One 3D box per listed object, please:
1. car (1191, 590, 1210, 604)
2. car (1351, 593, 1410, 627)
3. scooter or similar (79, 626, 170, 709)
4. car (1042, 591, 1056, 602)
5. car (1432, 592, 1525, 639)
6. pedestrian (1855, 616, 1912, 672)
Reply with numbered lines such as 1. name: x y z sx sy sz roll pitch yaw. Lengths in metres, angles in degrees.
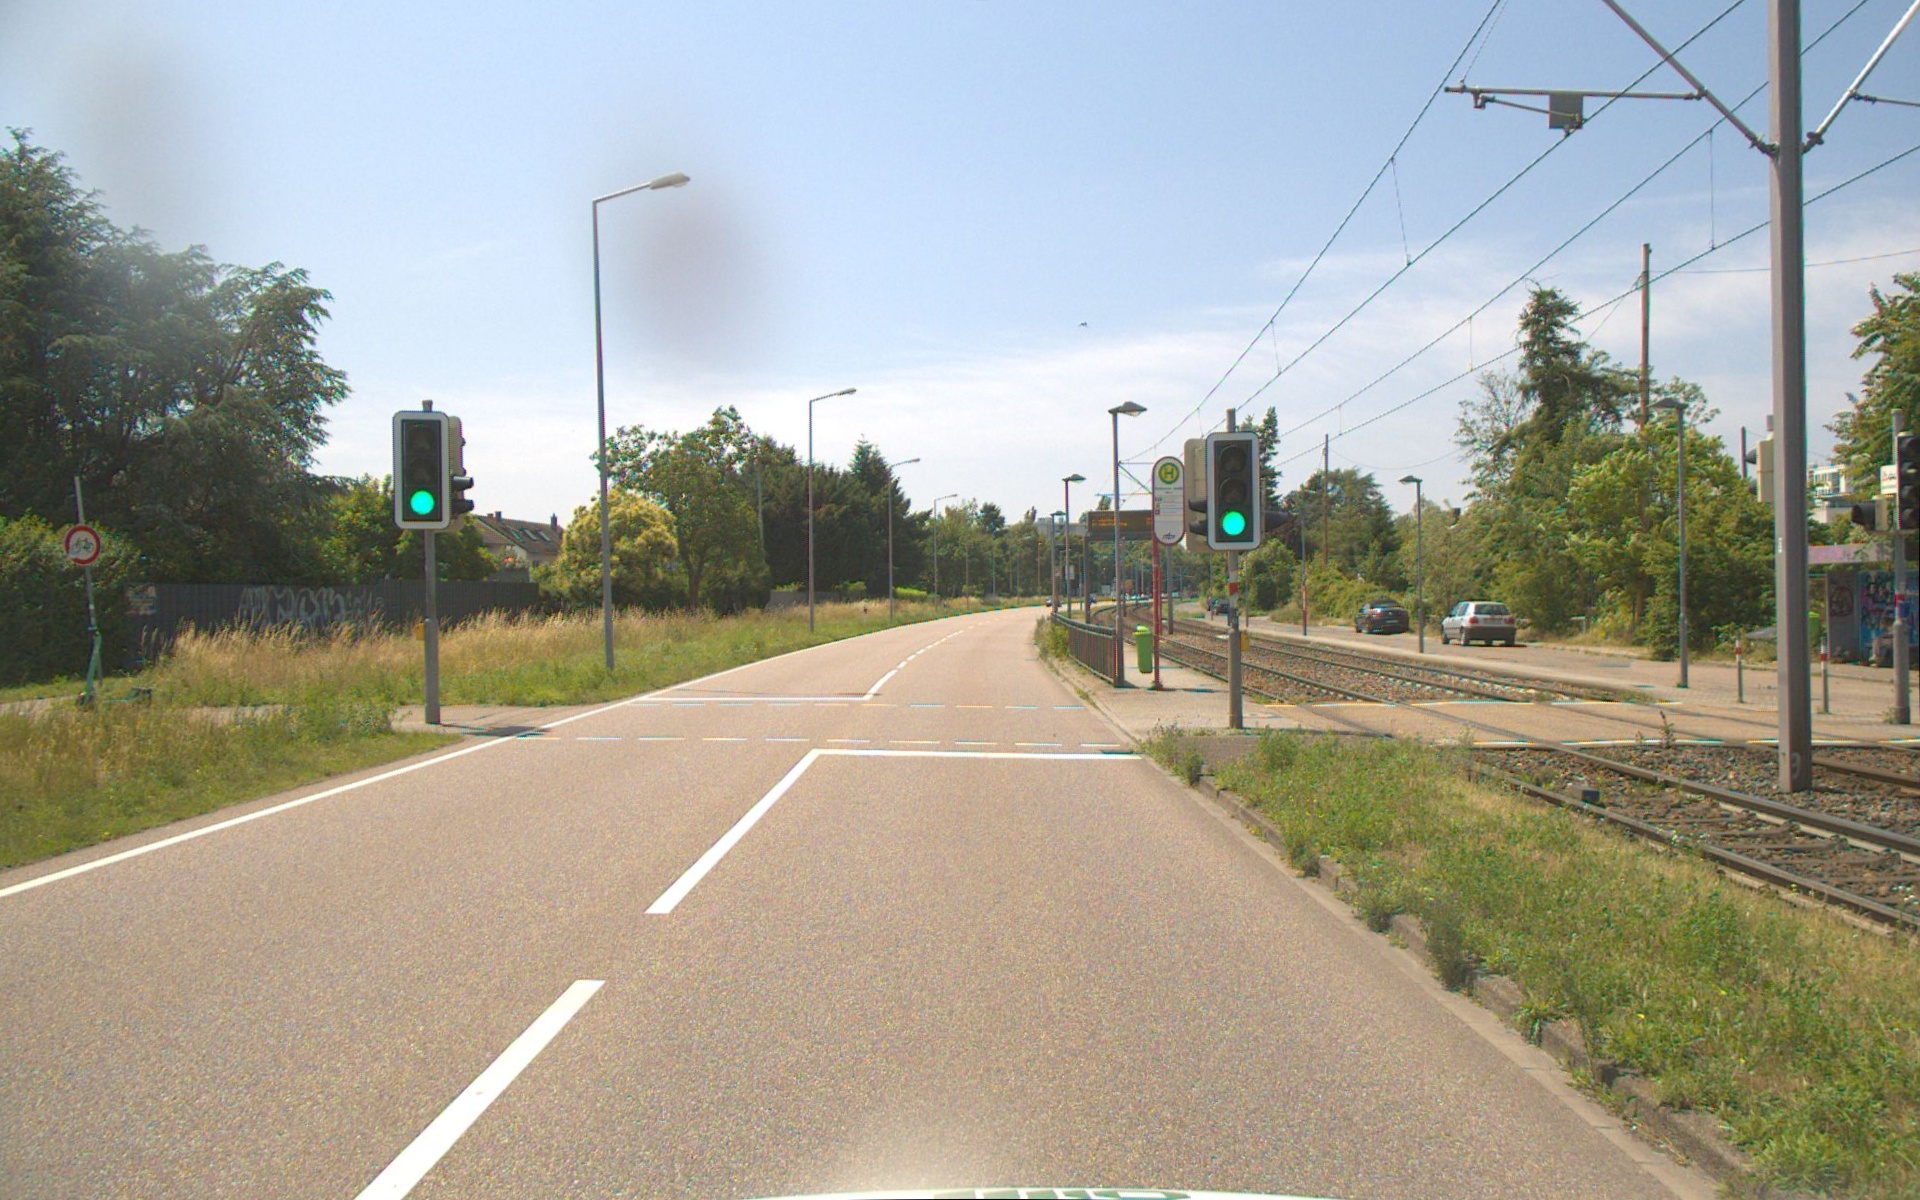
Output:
1. car: 25.519 -0.322 175.809 1.873 1.496 4.003 0 0 6
2. car: 18.476 0.430 72.853 1.586 1.447 4.875 0 0 3
3. scooter or similar: -12.016 0.964 23.797 0.999 1.147 0.647 -1 0 -9
4. car: 11.760 -0.420 217.960 1.670 1.429 4.710 0 0 5
5. car: 16.878 0.485 54.016 1.899 1.447 4.001 0 0 2
6. pedestrian: 18.664 0.890 33.440 0.791 1.106 0.719 0 0 10
